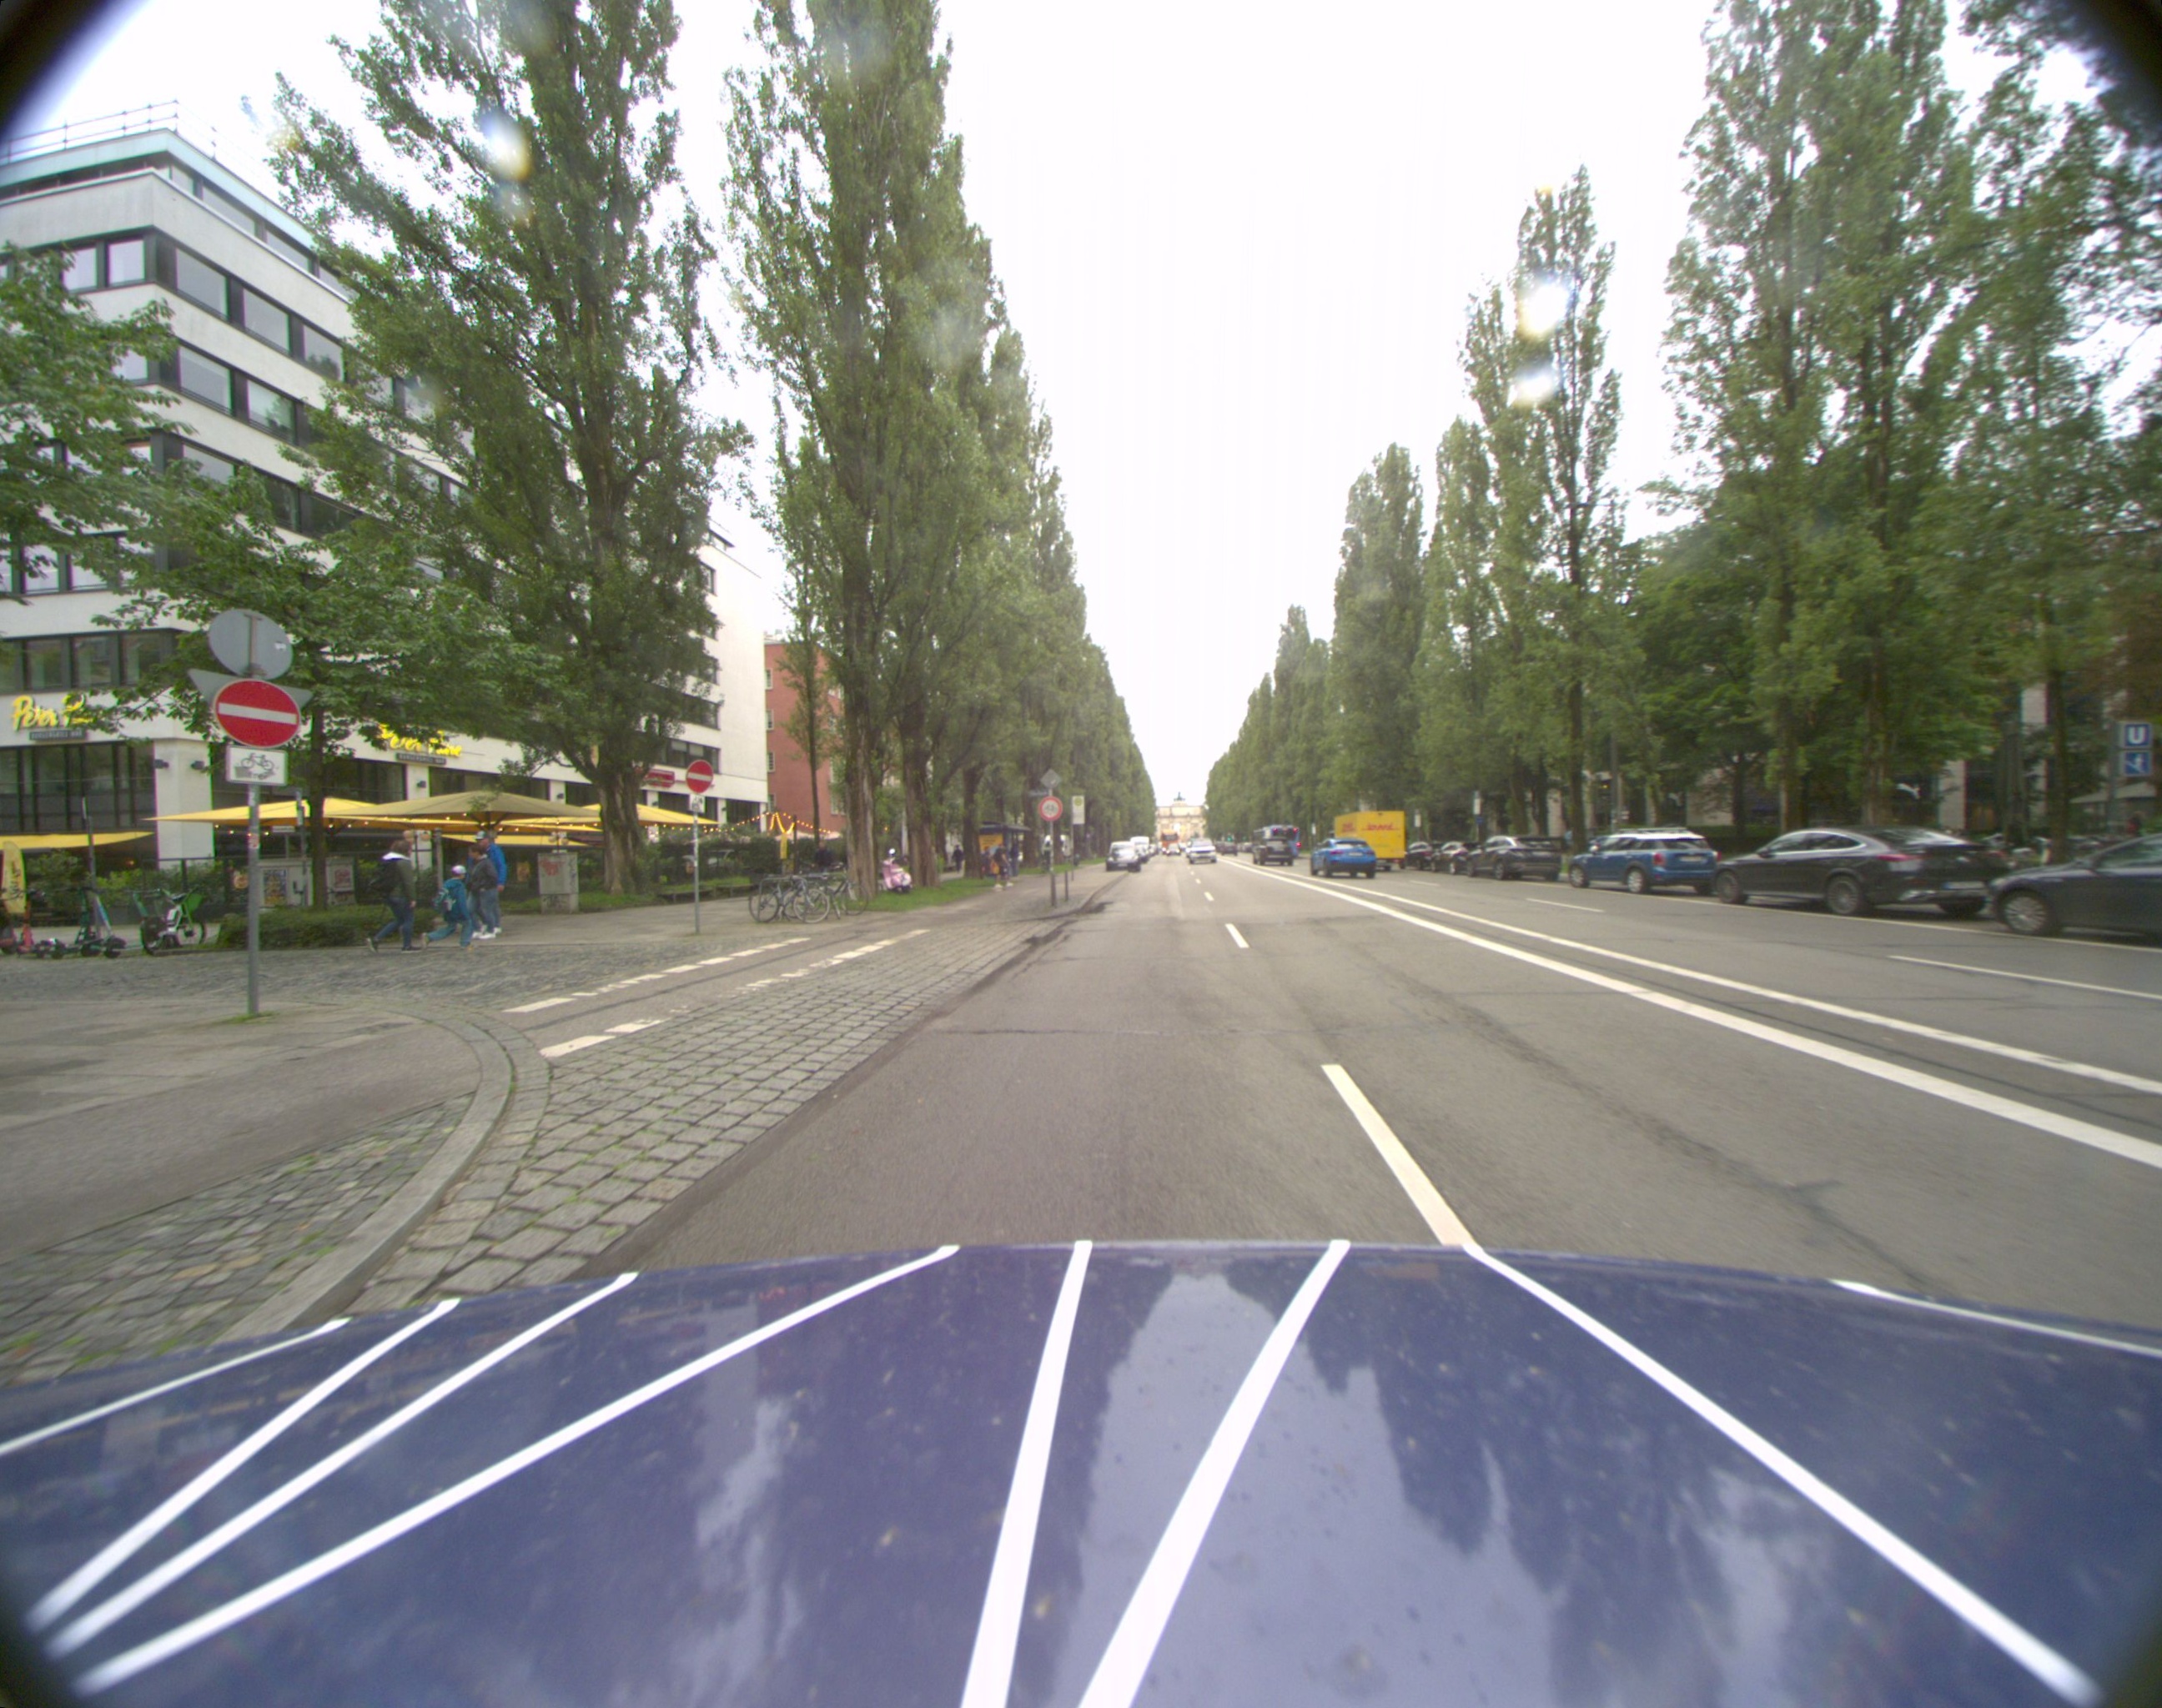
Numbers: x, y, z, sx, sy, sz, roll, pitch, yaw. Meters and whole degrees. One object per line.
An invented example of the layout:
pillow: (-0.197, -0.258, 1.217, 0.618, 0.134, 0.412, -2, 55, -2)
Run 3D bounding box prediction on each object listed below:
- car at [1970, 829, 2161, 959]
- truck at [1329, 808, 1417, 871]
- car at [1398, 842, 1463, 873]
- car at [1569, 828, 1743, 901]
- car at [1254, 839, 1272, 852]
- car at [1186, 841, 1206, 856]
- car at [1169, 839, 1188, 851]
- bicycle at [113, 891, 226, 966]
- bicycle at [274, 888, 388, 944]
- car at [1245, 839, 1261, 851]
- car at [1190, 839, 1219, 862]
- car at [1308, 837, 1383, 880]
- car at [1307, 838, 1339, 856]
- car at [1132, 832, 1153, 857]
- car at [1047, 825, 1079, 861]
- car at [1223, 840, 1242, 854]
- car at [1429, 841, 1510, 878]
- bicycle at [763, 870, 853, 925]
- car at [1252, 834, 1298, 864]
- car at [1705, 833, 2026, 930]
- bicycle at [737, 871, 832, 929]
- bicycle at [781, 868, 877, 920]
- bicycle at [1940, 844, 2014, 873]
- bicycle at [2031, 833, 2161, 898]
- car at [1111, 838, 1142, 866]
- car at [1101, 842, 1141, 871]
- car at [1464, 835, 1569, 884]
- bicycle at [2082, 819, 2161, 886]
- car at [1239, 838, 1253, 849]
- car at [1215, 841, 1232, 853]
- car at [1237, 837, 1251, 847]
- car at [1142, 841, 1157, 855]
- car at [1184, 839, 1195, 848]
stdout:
car: (13.655, 0.467, 8.742, 1.791, 1.520, 4.625, -1, 1, 7)
truck: (14.637, -0.730, 38.644, 2.598, 2.891, 7.083, -1, 1, 8)
car: (17.084, 0.137, 37.330, 1.791, 1.404, 3.883, -1, 1, 7)
car: (14.991, 0.220, 20.136, 1.791, 1.722, 4.079, 0, 1, 5)
car: (24.280, -1.149, 101.513, 1.997, 1.712, 4.122, 0, 1, 7)
car: (12.228, -0.589, 81.158, 2.010, 1.571, 4.002, -1, 1, 8)
car: (12.145, -1.121, 94.434, 1.648, 1.389, 3.998, -1, 1, -3)
bicycle: (-16.218, 1.285, 13.576, 0.554, 1.136, 1.759, -2, 1, -25)
bicycle: (-14.805, 1.219, 15.015, 1.761, 1.016, 0.554, -1, 1, 4)
car: (26.633, -1.392, 117.820, 1.997, 1.712, 4.817, 0, 1, 7)
car: (9.160, -0.306, 56.594, 2.010, 1.571, 4.001, -2, 1, 7)
car: (10.408, 0.129, 30.234, 1.869, 1.570, 4.424, 0, 1, 7)
car: (20.133, -0.598, 63.317, 1.791, 1.404, 3.883, -1, 1, 7)
car: (6.841, -1.100, 83.628, 2.010, 2.617, 6.002, -1, 1, 7)
car: (-1.566, -1.004, 69.138, 2.197, 3.000, 6.001, -1, 1, 5)
car: (16.900, -0.760, 85.035, 1.846, 1.518, 3.754, 0, 1, 8)
car: (16.177, 0.176, 31.842, 1.791, 1.404, 3.883, -1, 1, 7)
bicycle: (-5.636, 0.890, 15.700, 1.700, 1.087, 0.492, -1, 1, 11)
car: (12.203, -0.326, 48.084, 1.998, 1.738, 5.065, 1, 1, 5)
car: (14.382, 0.419, 14.411, 1.791, 1.520, 4.516, -1, 1, 7)
bicycle: (-5.814, 0.904, 14.924, 1.700, 1.087, 0.492, -1, 1, 11)
bicycle: (-5.521, 0.869, 16.644, 1.980, 1.087, 0.492, -1, 1, 11)
bicycle: (27.175, 0.125, 23.069, 1.361, 0.851, 0.532, -1, 2, 31)
bicycle: (18.747, 0.206, 13.776, 1.986, 1.118, 0.676, -1, 1, 7)
car: (3.162, -0.121, 52.273, 2.010, 1.746, 4.002, -2, -1, 5)
car: (2.412, 0.092, 44.728, 2.010, 1.571, 4.002, -1, 1, 8)
car: (15.592, 0.142, 27.469, 1.791, 1.591, 4.238, -1, 1, 7)
bicycle: (18.653, -0.040, 12.992, 1.986, 1.118, 0.676, -1, 1, 7)
car: (27.808, -1.778, 127.975, 1.997, 1.712, 4.350, 0, 1, 7)
car: (19.746, -0.997, 105.211, 1.997, 1.712, 4.817, 0, 1, 7)
car: (29.043, -2.107, 135.271, 1.997, 1.712, 4.350, 0, 1, 7)
car: (9.361, -0.858, 103.640, 2.010, 1.747, 4.001, -1, 1, 5)
car: (19.946, -1.894, 139.446, 2.010, 1.571, 4.002, -1, 1, 8)
